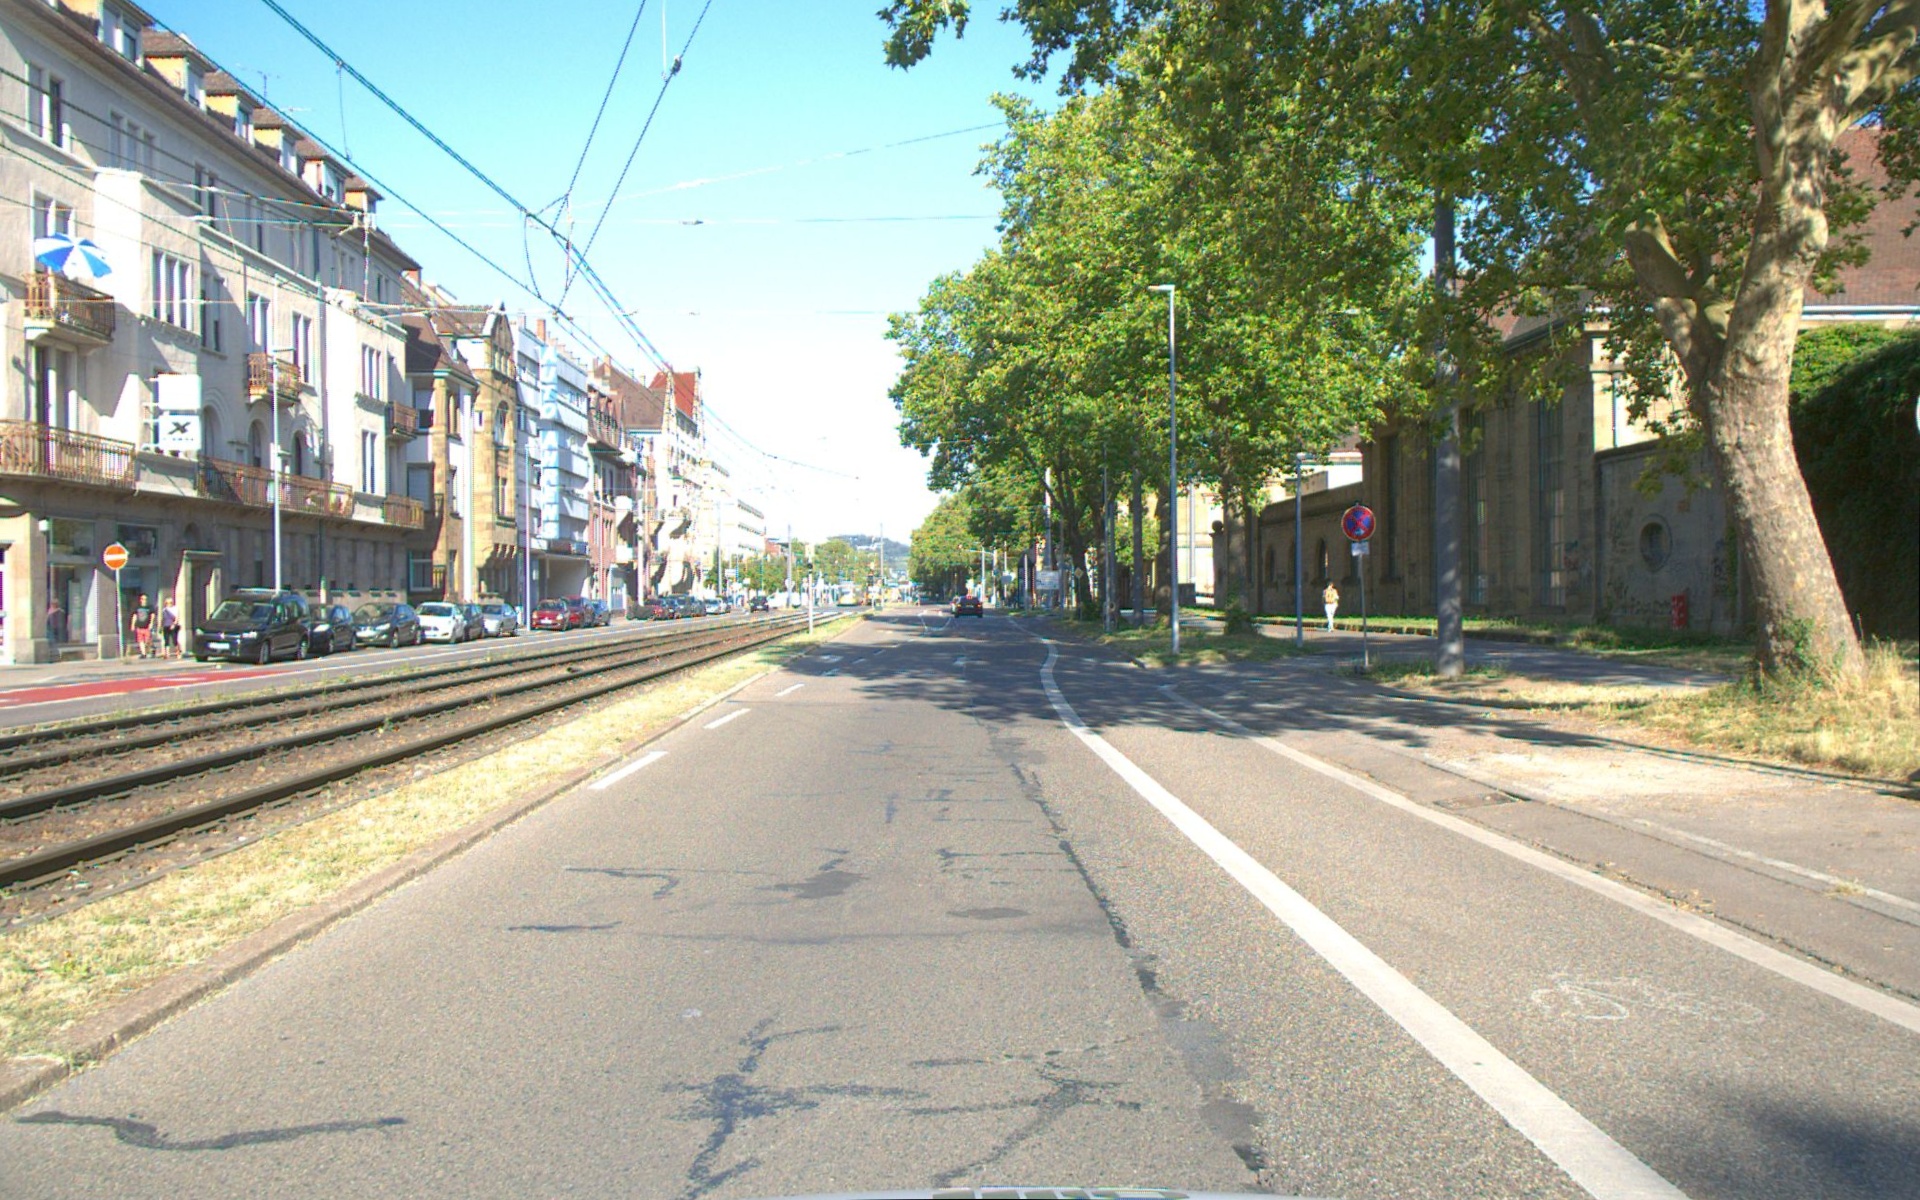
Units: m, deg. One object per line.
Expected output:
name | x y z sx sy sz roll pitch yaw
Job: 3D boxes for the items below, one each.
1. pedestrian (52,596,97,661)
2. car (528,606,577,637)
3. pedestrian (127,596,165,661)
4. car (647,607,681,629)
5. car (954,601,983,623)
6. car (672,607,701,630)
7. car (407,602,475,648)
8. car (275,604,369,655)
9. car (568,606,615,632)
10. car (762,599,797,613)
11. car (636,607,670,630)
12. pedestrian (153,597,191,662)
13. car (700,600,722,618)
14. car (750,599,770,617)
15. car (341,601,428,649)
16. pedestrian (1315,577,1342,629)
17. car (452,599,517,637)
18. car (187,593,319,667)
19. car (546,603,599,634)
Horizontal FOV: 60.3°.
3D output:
pedestrian | -23.458 0.759 43.849 0.626 1.690 0.954 1 -1 0
car | -20.314 1.048 82.641 1.798 1.415 4.030 3 0 -6
pedestrian | -22.101 0.780 44.915 0.577 1.726 0.857 1 -1 0
car | -21.617 1.310 120.913 1.758 1.536 3.998 3 0 -2
car | 0.549 0.798 112.405 1.796 1.415 4.157 0 0 -2
car | -21.705 1.426 131.286 1.653 1.681 4.198 3 0 -2
car | -19.217 0.896 61.414 1.603 1.494 3.979 -1 2 -6
car | -19.531 0.883 50.778 1.595 1.415 3.506 3 0 -3
car | -20.793 1.035 93.427 1.796 1.415 4.680 0 0 -2
car | -21.856 0.748 200.477 3.910 1.537 1.798 1 -1 27
car | -21.519 1.267 116.033 1.758 1.485 4.264 3 0 -3
pedestrian | -21.420 0.796 44.960 0.577 1.726 0.857 1 -1 0
car | -22.474 0.805 149.488 1.760 1.536 3.995 3 0 -6
car | -19.315 0.778 159.864 1.603 1.629 4.156 -2 0 -4
car | -19.598 0.833 56.459 1.602 1.494 4.157 3 0 -2
pedestrian | 12.384 0.101 55.594 0.596 1.711 0.635 -4 0 -4
car | -20.219 0.752 70.463 1.602 1.494 4.158 1 0 -1
car | -19.087 0.767 44.840 1.825 1.817 4.399 1 0 -3
car | -20.636 0.982 88.203 1.796 1.585 4.352 1 0 -1
